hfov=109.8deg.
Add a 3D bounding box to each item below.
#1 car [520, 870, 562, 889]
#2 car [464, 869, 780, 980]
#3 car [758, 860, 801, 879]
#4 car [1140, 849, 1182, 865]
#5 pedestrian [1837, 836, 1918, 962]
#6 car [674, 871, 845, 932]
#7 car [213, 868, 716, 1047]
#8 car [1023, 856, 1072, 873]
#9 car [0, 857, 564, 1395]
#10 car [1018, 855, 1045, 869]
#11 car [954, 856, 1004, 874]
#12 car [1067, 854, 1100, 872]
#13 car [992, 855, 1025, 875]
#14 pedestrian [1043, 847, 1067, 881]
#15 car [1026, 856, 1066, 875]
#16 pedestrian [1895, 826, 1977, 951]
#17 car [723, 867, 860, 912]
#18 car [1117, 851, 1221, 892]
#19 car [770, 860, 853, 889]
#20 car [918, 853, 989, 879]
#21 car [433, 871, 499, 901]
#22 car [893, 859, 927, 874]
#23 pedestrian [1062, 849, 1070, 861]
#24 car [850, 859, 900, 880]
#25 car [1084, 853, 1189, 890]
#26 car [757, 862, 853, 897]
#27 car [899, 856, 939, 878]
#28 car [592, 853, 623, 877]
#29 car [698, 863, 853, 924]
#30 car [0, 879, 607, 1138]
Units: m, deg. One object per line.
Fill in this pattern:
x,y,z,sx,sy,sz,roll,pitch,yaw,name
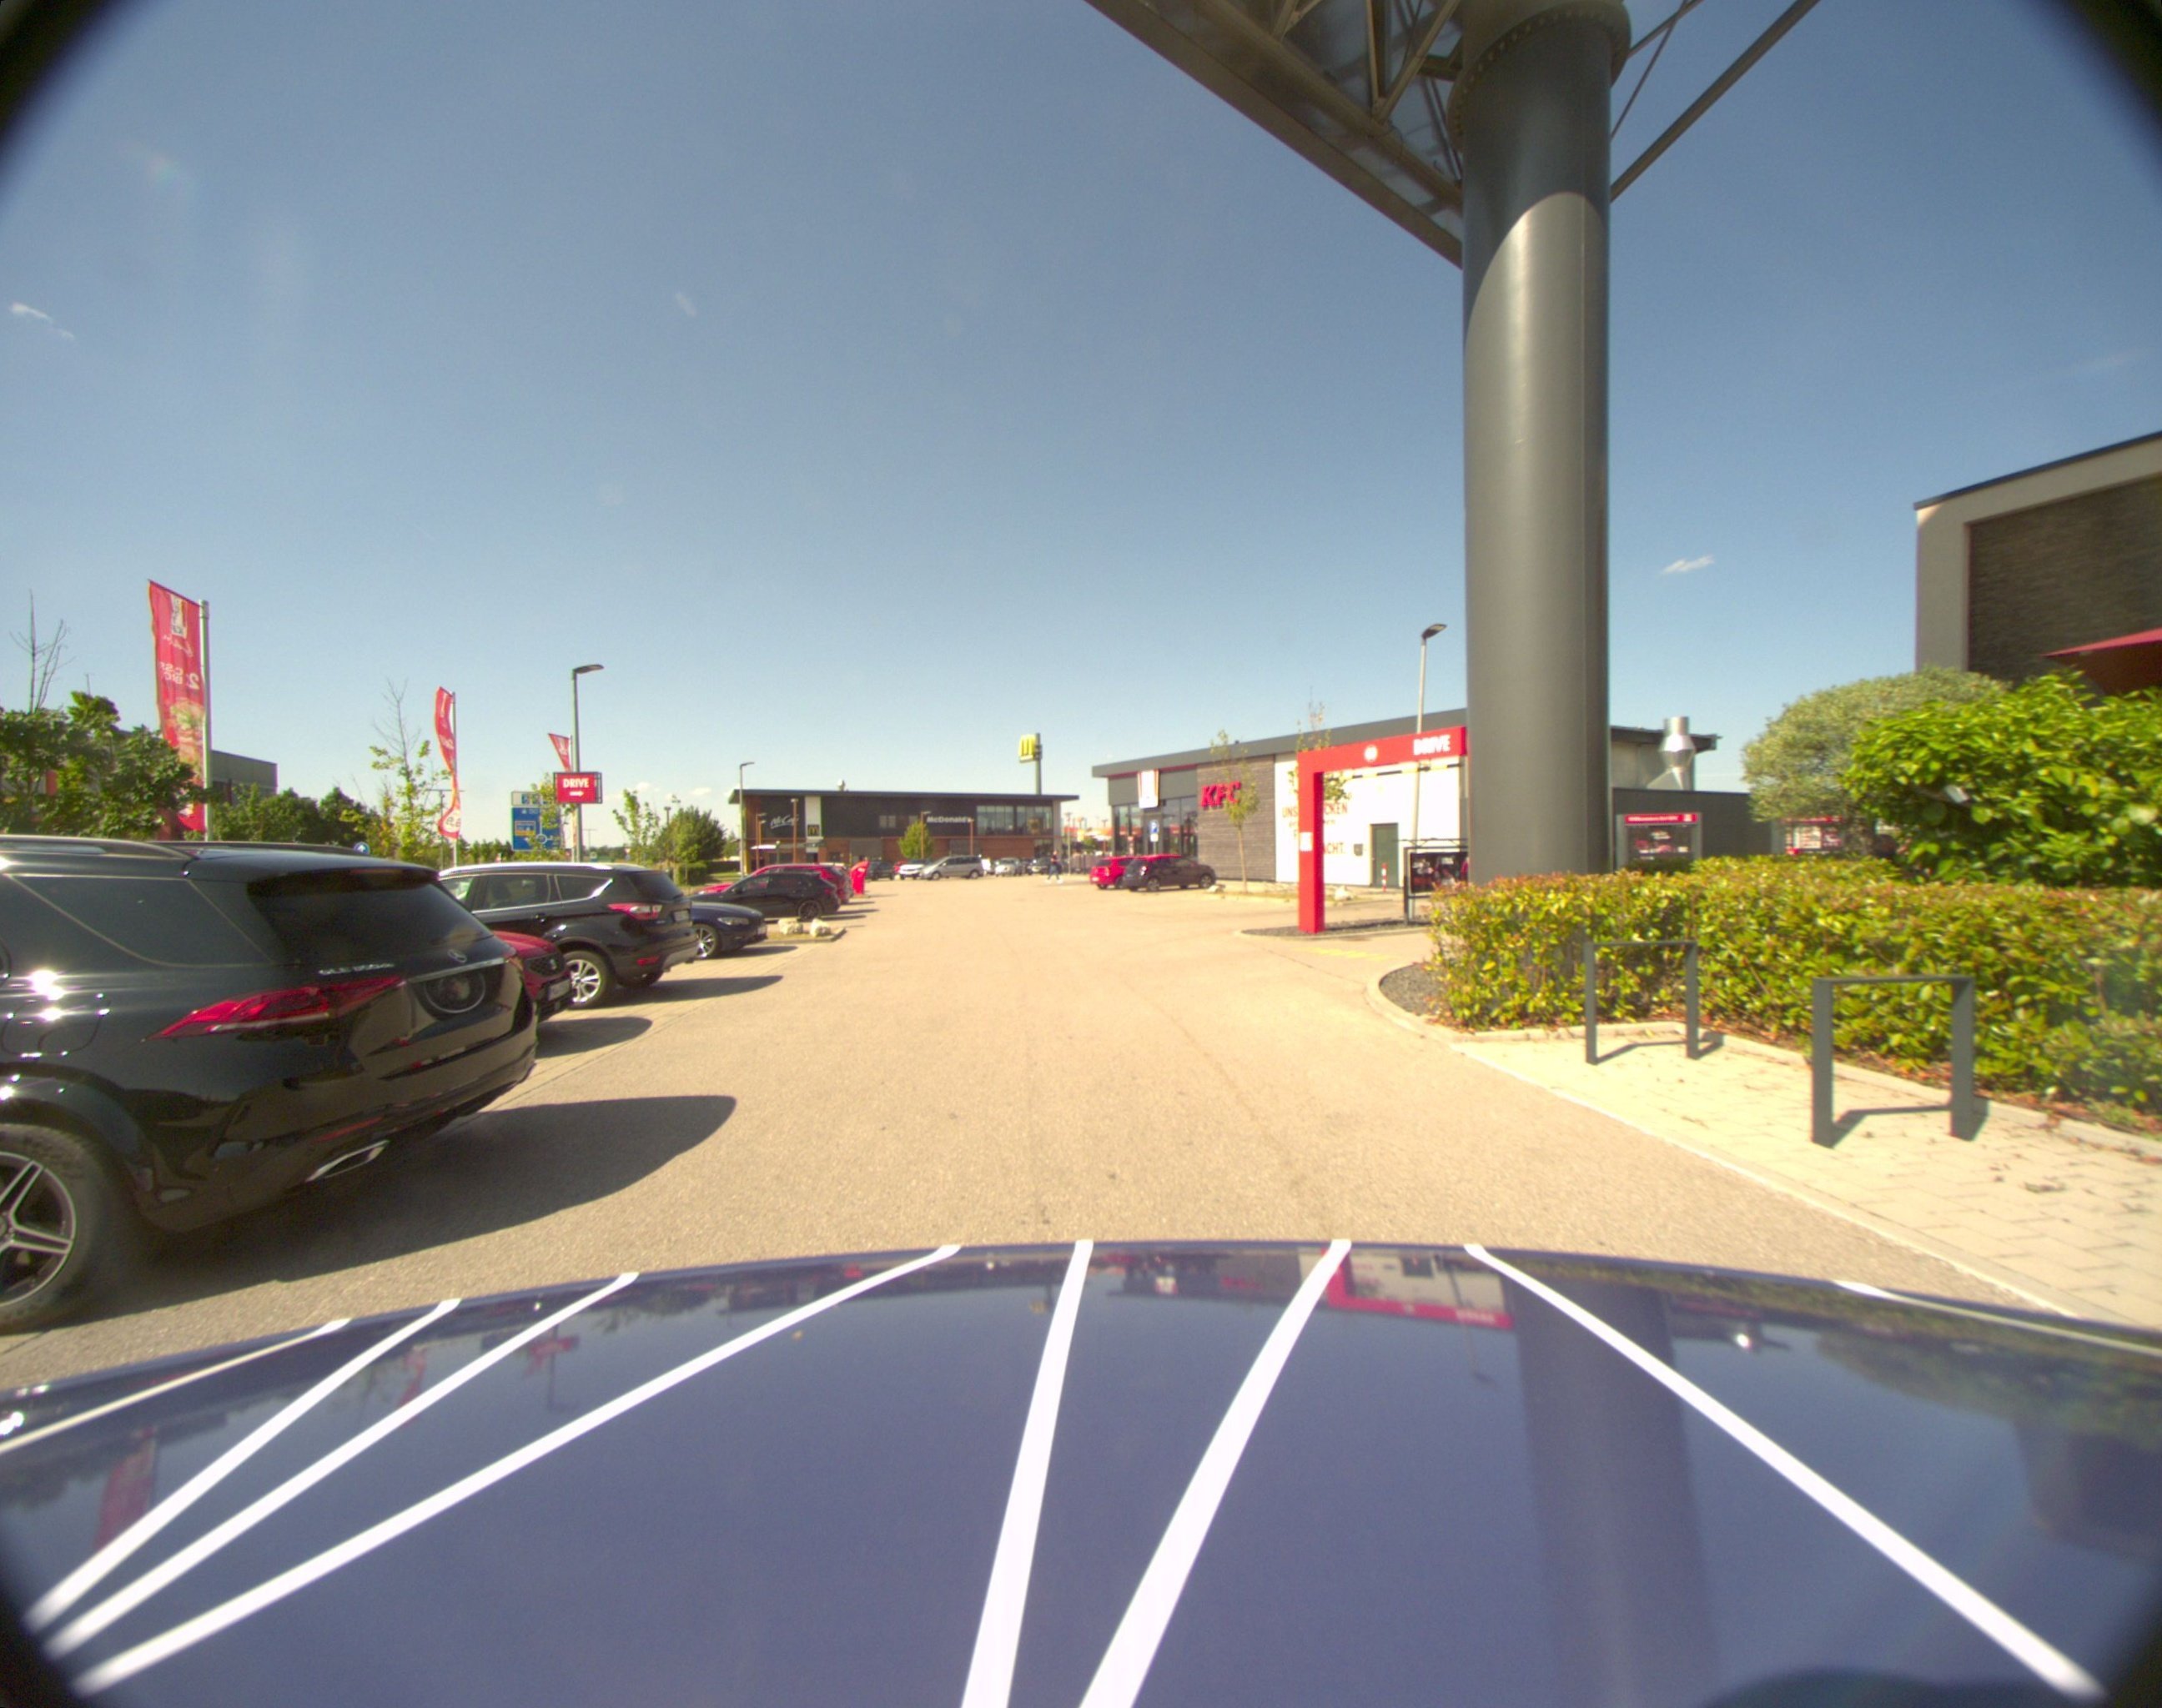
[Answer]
-46.389,2.155,65.390,2.002,1.517,4.648,-1,0,-24,car
-8.077,1.184,13.798,4.450,1.628,1.894,-2,1,-7,car
-29.768,1.511,75.104,1.994,1.681,4.239,-1,0,9,car
8.330,0.331,79.068,3.992,1.543,1.757,-1,0,16,car
9.899,0.541,9.450,0.526,1.496,0.568,-1,0,-29,pedestrian
-8.893,1.282,21.390,4.209,1.402,1.771,-2,1,-17,car
-7.088,1.116,9.240,4.332,1.693,1.894,-2,1,-7,car
-3.165,1.004,72.457,4.271,1.478,1.816,-1,1,19,car
-5.224,0.974,3.199,4.590,1.750,1.894,-2,1,-10,car
-5.631,0.899,86.885,1.713,1.603,4.041,-1,0,17,car
-9.317,0.983,69.517,4.106,1.484,1.714,-1,1,19,car
0.242,0.723,64.927,1.833,1.451,4.375,-1,0,14,car
-5.863,0.862,61.864,1.973,1.517,4.208,-1,0,3,car
-1.410,0.563,41.212,0.992,1.799,0.727,-1,1,34,pedestrian
-2.865,0.916,63.605,1.972,1.478,4.789,-1,0,15,car
10.650,0.409,9.471,0.526,1.496,0.568,-1,0,-29,pedestrian
-10.757,1.289,28.510,4.605,1.405,1.737,-2,1,-19,car
3.655,0.687,31.331,3.914,1.498,1.736,-2,1,-27,car
-16.012,1.160,45.210,4.485,1.461,1.830,-3,1,-20,car
-9.207,0.824,54.997,4.690,1.738,1.829,-2,1,-28,car
-38.188,1.941,47.295,2.031,1.707,4.294,-1,0,-23,car
-18.047,1.296,80.365,1.959,1.457,4.471,-1,0,10,car
-2.055,0.138,102.845,0.700,1.550,0.723,-1,0,34,pedestrian
-15.417,1.137,57.031,1.972,1.517,4.210,-1,0,10,car
2.492,0.754,33.907,4.408,1.405,1.736,-2,1,-29,car
-13.745,1.222,37.987,4.357,1.461,1.830,-3,1,-20,car
-12.438,0.979,58.546,1.973,1.645,4.208,-1,0,3,car
-46.187,1.091,74.165,2.003,2.184,5.096,-1,0,-26,car
-9.456,1.174,23.911,4.233,1.628,1.948,-2,1,-15,car
-6.631,1.116,6.336,4.083,1.599,1.894,-2,0,-12,car
